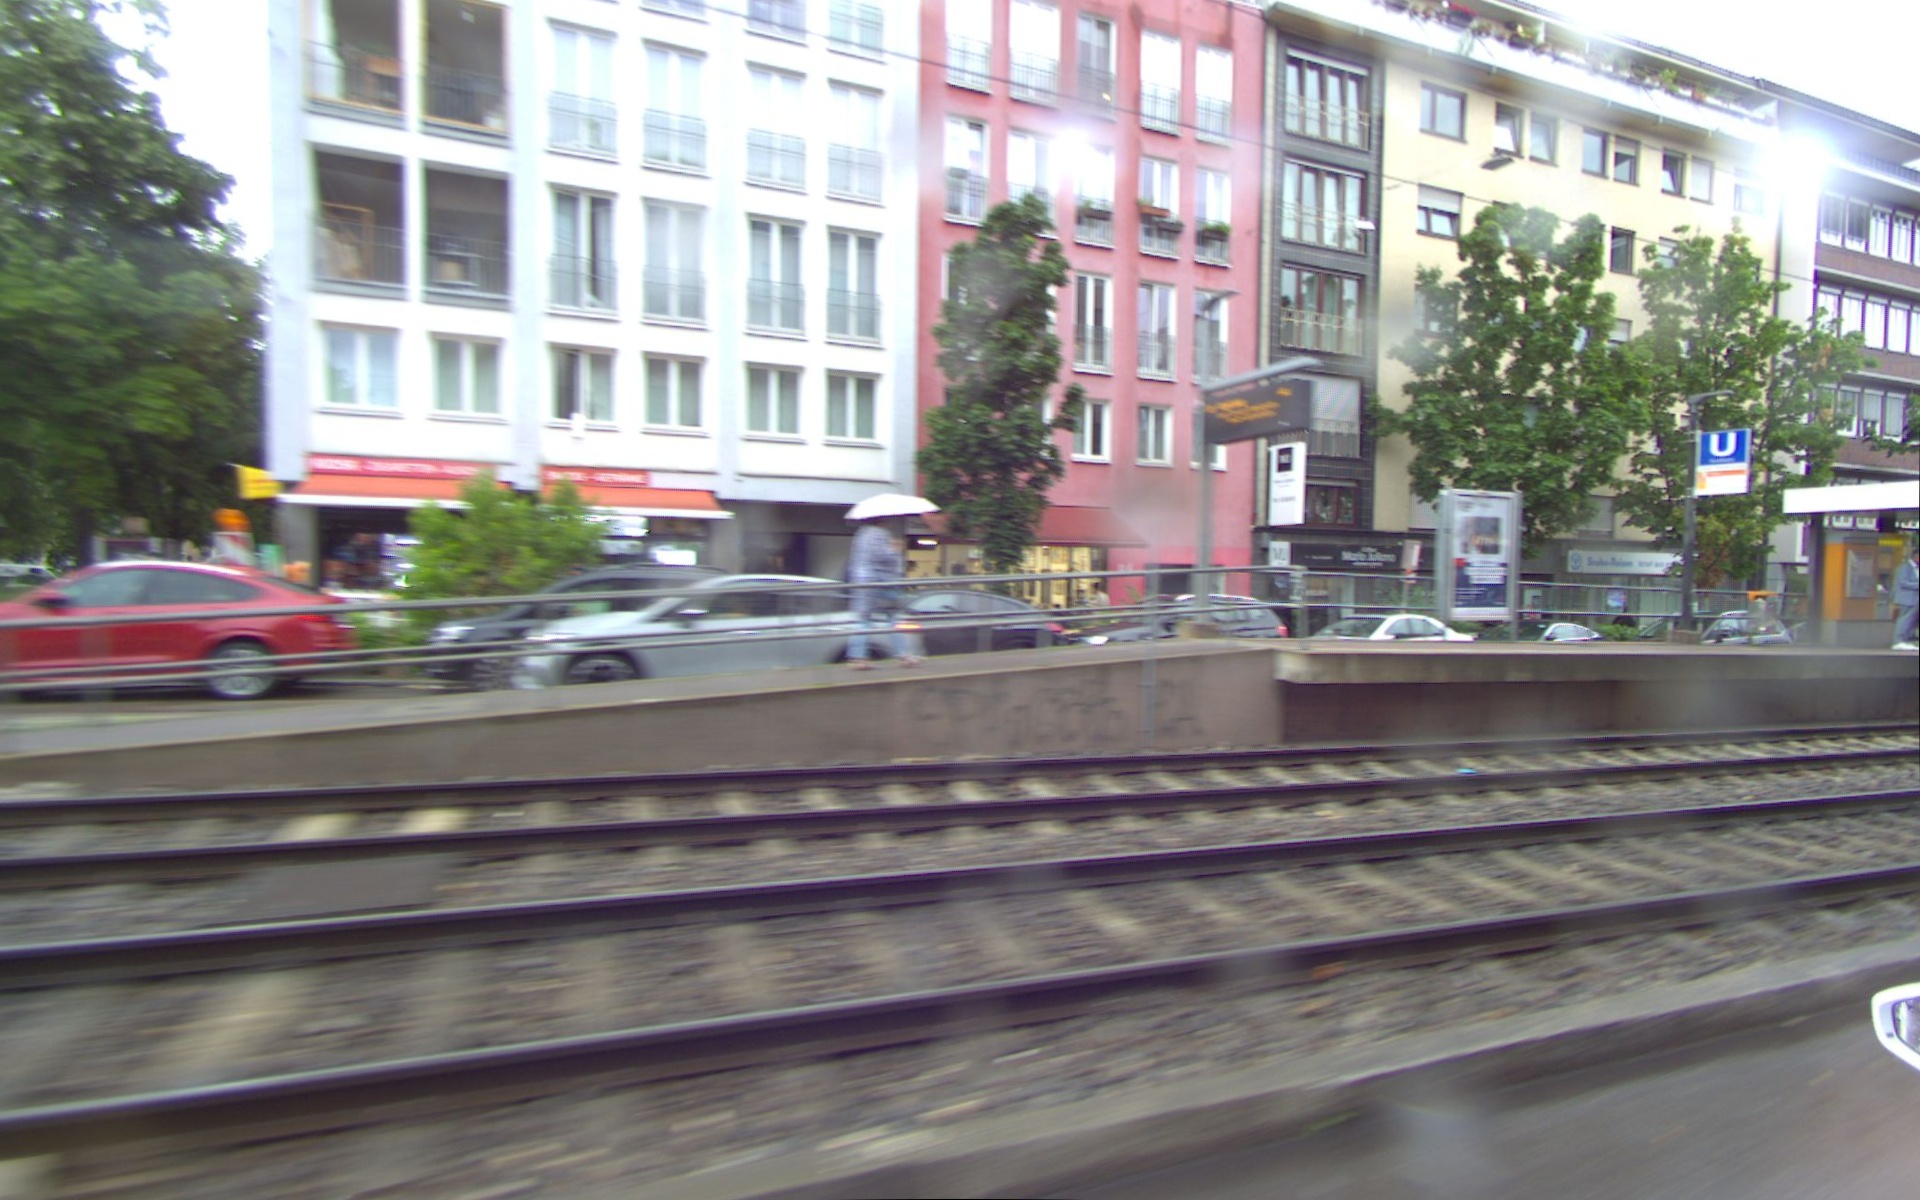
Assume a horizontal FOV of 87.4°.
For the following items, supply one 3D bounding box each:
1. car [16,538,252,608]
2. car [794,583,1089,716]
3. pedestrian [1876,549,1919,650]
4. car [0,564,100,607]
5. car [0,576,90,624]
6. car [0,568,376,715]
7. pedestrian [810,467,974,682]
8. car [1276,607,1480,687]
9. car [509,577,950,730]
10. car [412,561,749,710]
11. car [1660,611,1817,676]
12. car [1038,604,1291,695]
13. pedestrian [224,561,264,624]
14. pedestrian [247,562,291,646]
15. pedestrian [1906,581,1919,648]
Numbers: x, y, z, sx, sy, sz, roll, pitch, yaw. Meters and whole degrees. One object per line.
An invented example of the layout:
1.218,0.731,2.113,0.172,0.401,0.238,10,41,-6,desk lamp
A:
-33.423,-1.040,40.988,6.994,2.568,2.411,1,0,-21,car
-0.277,0.723,15.931,4.321,1.883,1.797,1,1,-26,car
16.726,-0.005,17.637,0.838,1.734,0.653,1,1,-25,pedestrian
-50.302,-0.797,54.786,4.797,2.239,1.897,1,0,-25,car
-29.446,-0.028,31.491,1.970,1.392,3.981,1,0,-20,car
-9.894,0.458,12.333,4.486,1.633,1.723,0,1,-22,car
-0.717,-0.231,10.327,1.363,2.040,1.113,1,0,-23,pedestrian
8.399,0.904,20.140,3.926,1.455,1.563,1,1,-26,car
-2.754,0.583,12.288,4.948,1.599,1.803,1,1,-23,car
-5.340,0.466,14.383,4.263,1.883,1.702,1,1,-26,car
19.026,1.032,24.523,3.687,1.455,1.563,1,1,-26,car
3.718,0.845,18.193,4.262,1.455,1.834,1,1,-26,car
-16.529,-0.185,23.205,0.642,1.424,0.558,1,2,-25,pedestrian
-13.942,0.068,20.272,0.572,1.654,0.608,4,3,41,pedestrian
18.453,0.284,18.874,0.872,1.266,0.691,1,1,-25,pedestrian
